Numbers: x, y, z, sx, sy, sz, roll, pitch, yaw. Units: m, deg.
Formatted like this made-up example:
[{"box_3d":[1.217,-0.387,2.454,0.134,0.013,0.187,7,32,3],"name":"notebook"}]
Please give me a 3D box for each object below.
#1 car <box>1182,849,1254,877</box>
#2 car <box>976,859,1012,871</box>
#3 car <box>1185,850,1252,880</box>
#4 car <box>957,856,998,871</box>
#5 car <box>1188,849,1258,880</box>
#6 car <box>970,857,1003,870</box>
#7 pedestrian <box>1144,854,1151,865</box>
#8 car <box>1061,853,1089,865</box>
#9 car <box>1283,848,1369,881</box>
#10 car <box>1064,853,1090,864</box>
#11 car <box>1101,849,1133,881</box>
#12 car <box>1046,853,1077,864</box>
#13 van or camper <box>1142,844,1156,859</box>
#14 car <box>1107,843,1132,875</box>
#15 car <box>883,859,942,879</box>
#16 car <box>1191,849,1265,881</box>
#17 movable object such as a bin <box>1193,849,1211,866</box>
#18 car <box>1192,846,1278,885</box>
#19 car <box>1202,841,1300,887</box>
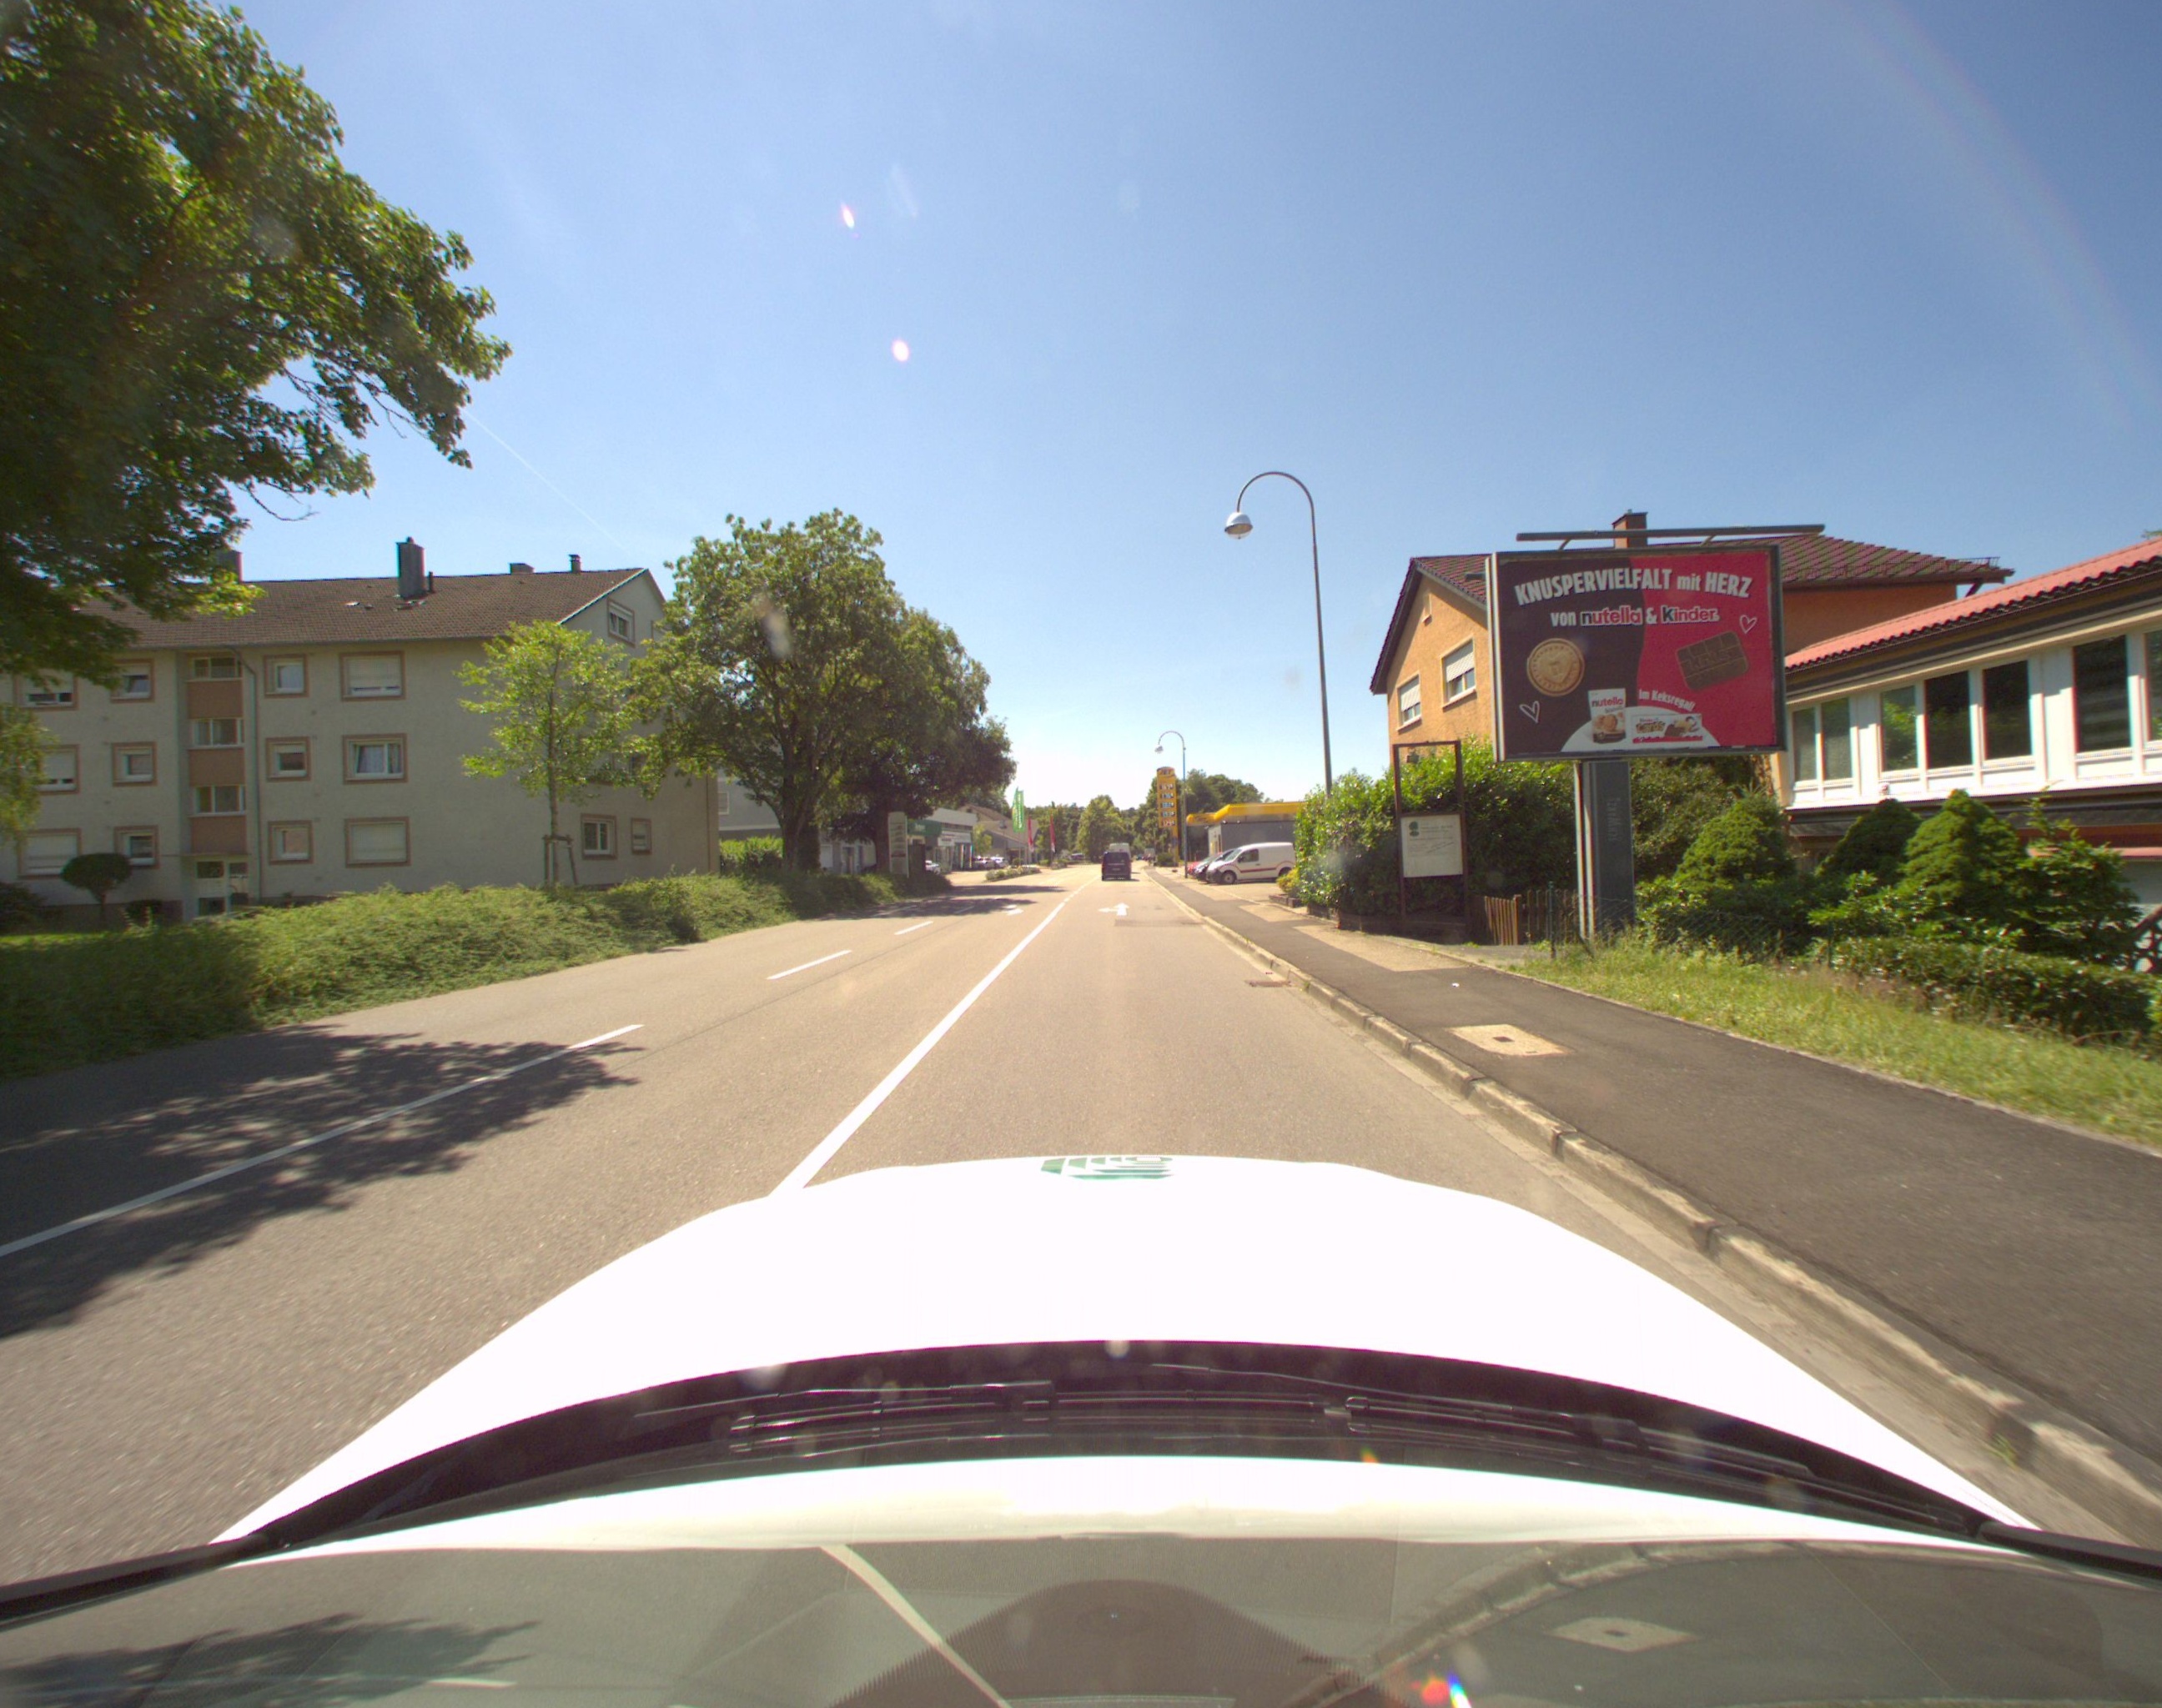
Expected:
[{"box_3d":[8.569,0.574,51.361,4.208,1.534,1.959,-3,0,2],"name":"car"},{"box_3d":[-11.312,1.387,106.297,4.149,1.446,1.989,-1,0,19],"name":"car"},{"box_3d":[8.204,0.639,48.903,3.673,1.566,1.708,-3,0,-1],"name":"car"},{"box_3d":[-12.511,1.136,98.559,4.491,1.664,2.011,-1,0,22],"name":"car"},{"box_3d":[8.081,0.574,46.598,3.674,1.566,1.749,-3,0,-1],"name":"car"},{"box_3d":[-12.059,1.221,103.535,3.594,1.474,2.011,-1,0,22],"name":"car"},{"box_3d":[8.391,0.667,102.371,0.764,1.421,0.870,-1,0,11],"name":"pedestrian"},{"box_3d":[-0.952,0.850,139.444,4.355,1.845,2.111,-1,-1,13],"name":"car"},{"box_3d":[11.913,0.503,39.800,3.596,1.468,1.947,1,0,-3],"name":"car"},{"box_3d":[-0.716,0.807,142.156,4.336,1.980,1.907,-1,-1,5],"name":"car"},{"box_3d":[2.299,0.699,52.572,1.986,1.952,5.007,0,0,2],"name":"car"},{"box_3d":[-3.135,0.729,132.063,4.677,1.762,2.105,-1,-1,11],"name":"car"},{"box_3d":[13.805,-0.438,165.688,2.620,2.929,5.211,0,-1,4],"name":"van or camper"},{"box_3d":[3.370,0.420,71.174,2.069,2.702,4.671,0,0,4],"name":"car"},{"box_3d":[-13.331,1.184,64.340,4.354,1.439,1.927,-2,0,-20],"name":"car"},{"box_3d":[7.978,0.580,44.330,3.672,1.566,1.642,-3,0,0],"name":"car"},{"box_3d":[11.089,0.327,74.609,1.428,1.438,1.469,-3,0,4],"name":"movable object such as a bin"},{"box_3d":[7.508,0.566,39.994,3.863,1.680,1.763,-3,0,0],"name":"car"},{"box_3d":[7.868,0.442,37.884,4.124,1.938,1.806,-2,0,-3],"name":"car"}]
